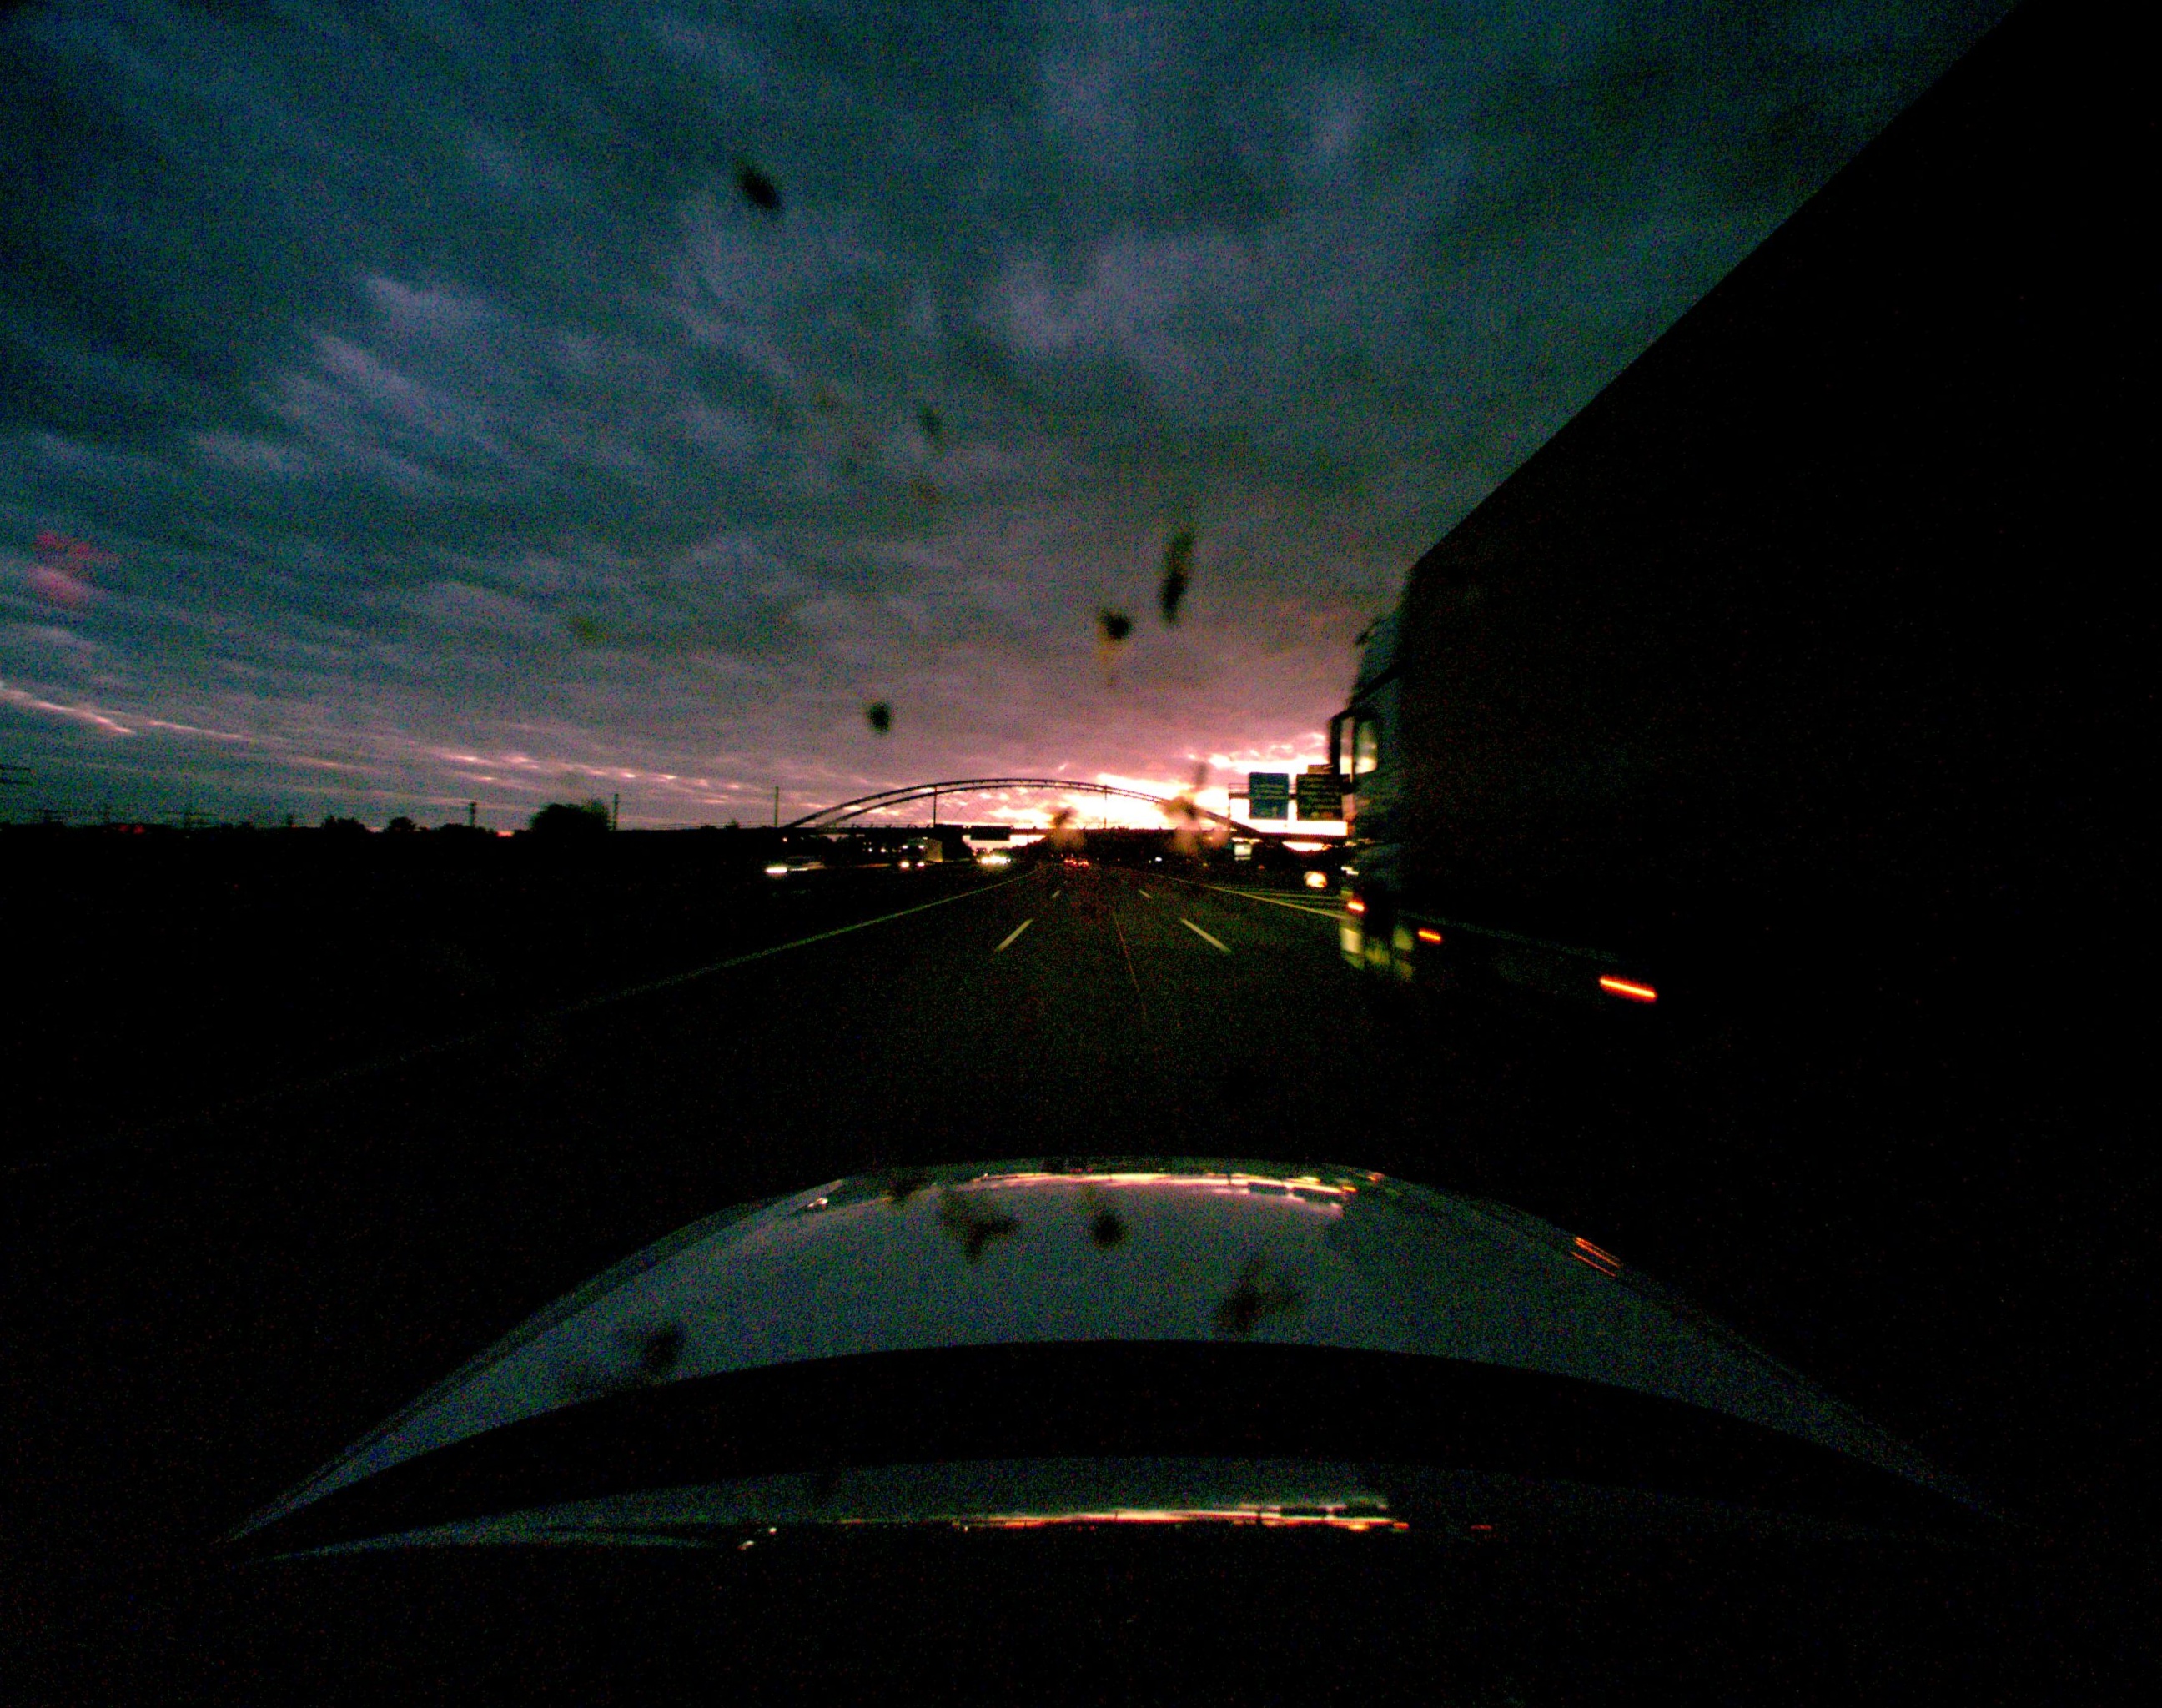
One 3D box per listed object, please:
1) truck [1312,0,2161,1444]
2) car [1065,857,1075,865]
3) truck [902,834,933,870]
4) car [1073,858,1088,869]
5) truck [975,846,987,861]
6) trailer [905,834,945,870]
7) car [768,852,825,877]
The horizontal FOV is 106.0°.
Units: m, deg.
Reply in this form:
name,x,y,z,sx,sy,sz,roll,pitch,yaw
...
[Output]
name,x,y,z,sx,sy,sz,roll,pitch,yaw
truck,4.073,-0.598,4.898,2.680,4.071,10.524,-1,0,2
car,-2.218,1.355,161.436,1.681,1.401,3.412,-1,-2,5
truck,-20.768,-0.251,103.752,2.817,4.507,6.241,-1,0,-1
car,-0.035,1.177,100.272,1.685,1.401,3.405,0,-2,-3
truck,-28.300,-0.162,230.999,2.819,4.048,12.196,-1,0,-4
trailer,-20.917,-0.273,109.885,2.817,4.507,14.619,-1,0,-1
car,-19.502,0.664,56.070,1.985,1.625,4.847,-1,0,3
